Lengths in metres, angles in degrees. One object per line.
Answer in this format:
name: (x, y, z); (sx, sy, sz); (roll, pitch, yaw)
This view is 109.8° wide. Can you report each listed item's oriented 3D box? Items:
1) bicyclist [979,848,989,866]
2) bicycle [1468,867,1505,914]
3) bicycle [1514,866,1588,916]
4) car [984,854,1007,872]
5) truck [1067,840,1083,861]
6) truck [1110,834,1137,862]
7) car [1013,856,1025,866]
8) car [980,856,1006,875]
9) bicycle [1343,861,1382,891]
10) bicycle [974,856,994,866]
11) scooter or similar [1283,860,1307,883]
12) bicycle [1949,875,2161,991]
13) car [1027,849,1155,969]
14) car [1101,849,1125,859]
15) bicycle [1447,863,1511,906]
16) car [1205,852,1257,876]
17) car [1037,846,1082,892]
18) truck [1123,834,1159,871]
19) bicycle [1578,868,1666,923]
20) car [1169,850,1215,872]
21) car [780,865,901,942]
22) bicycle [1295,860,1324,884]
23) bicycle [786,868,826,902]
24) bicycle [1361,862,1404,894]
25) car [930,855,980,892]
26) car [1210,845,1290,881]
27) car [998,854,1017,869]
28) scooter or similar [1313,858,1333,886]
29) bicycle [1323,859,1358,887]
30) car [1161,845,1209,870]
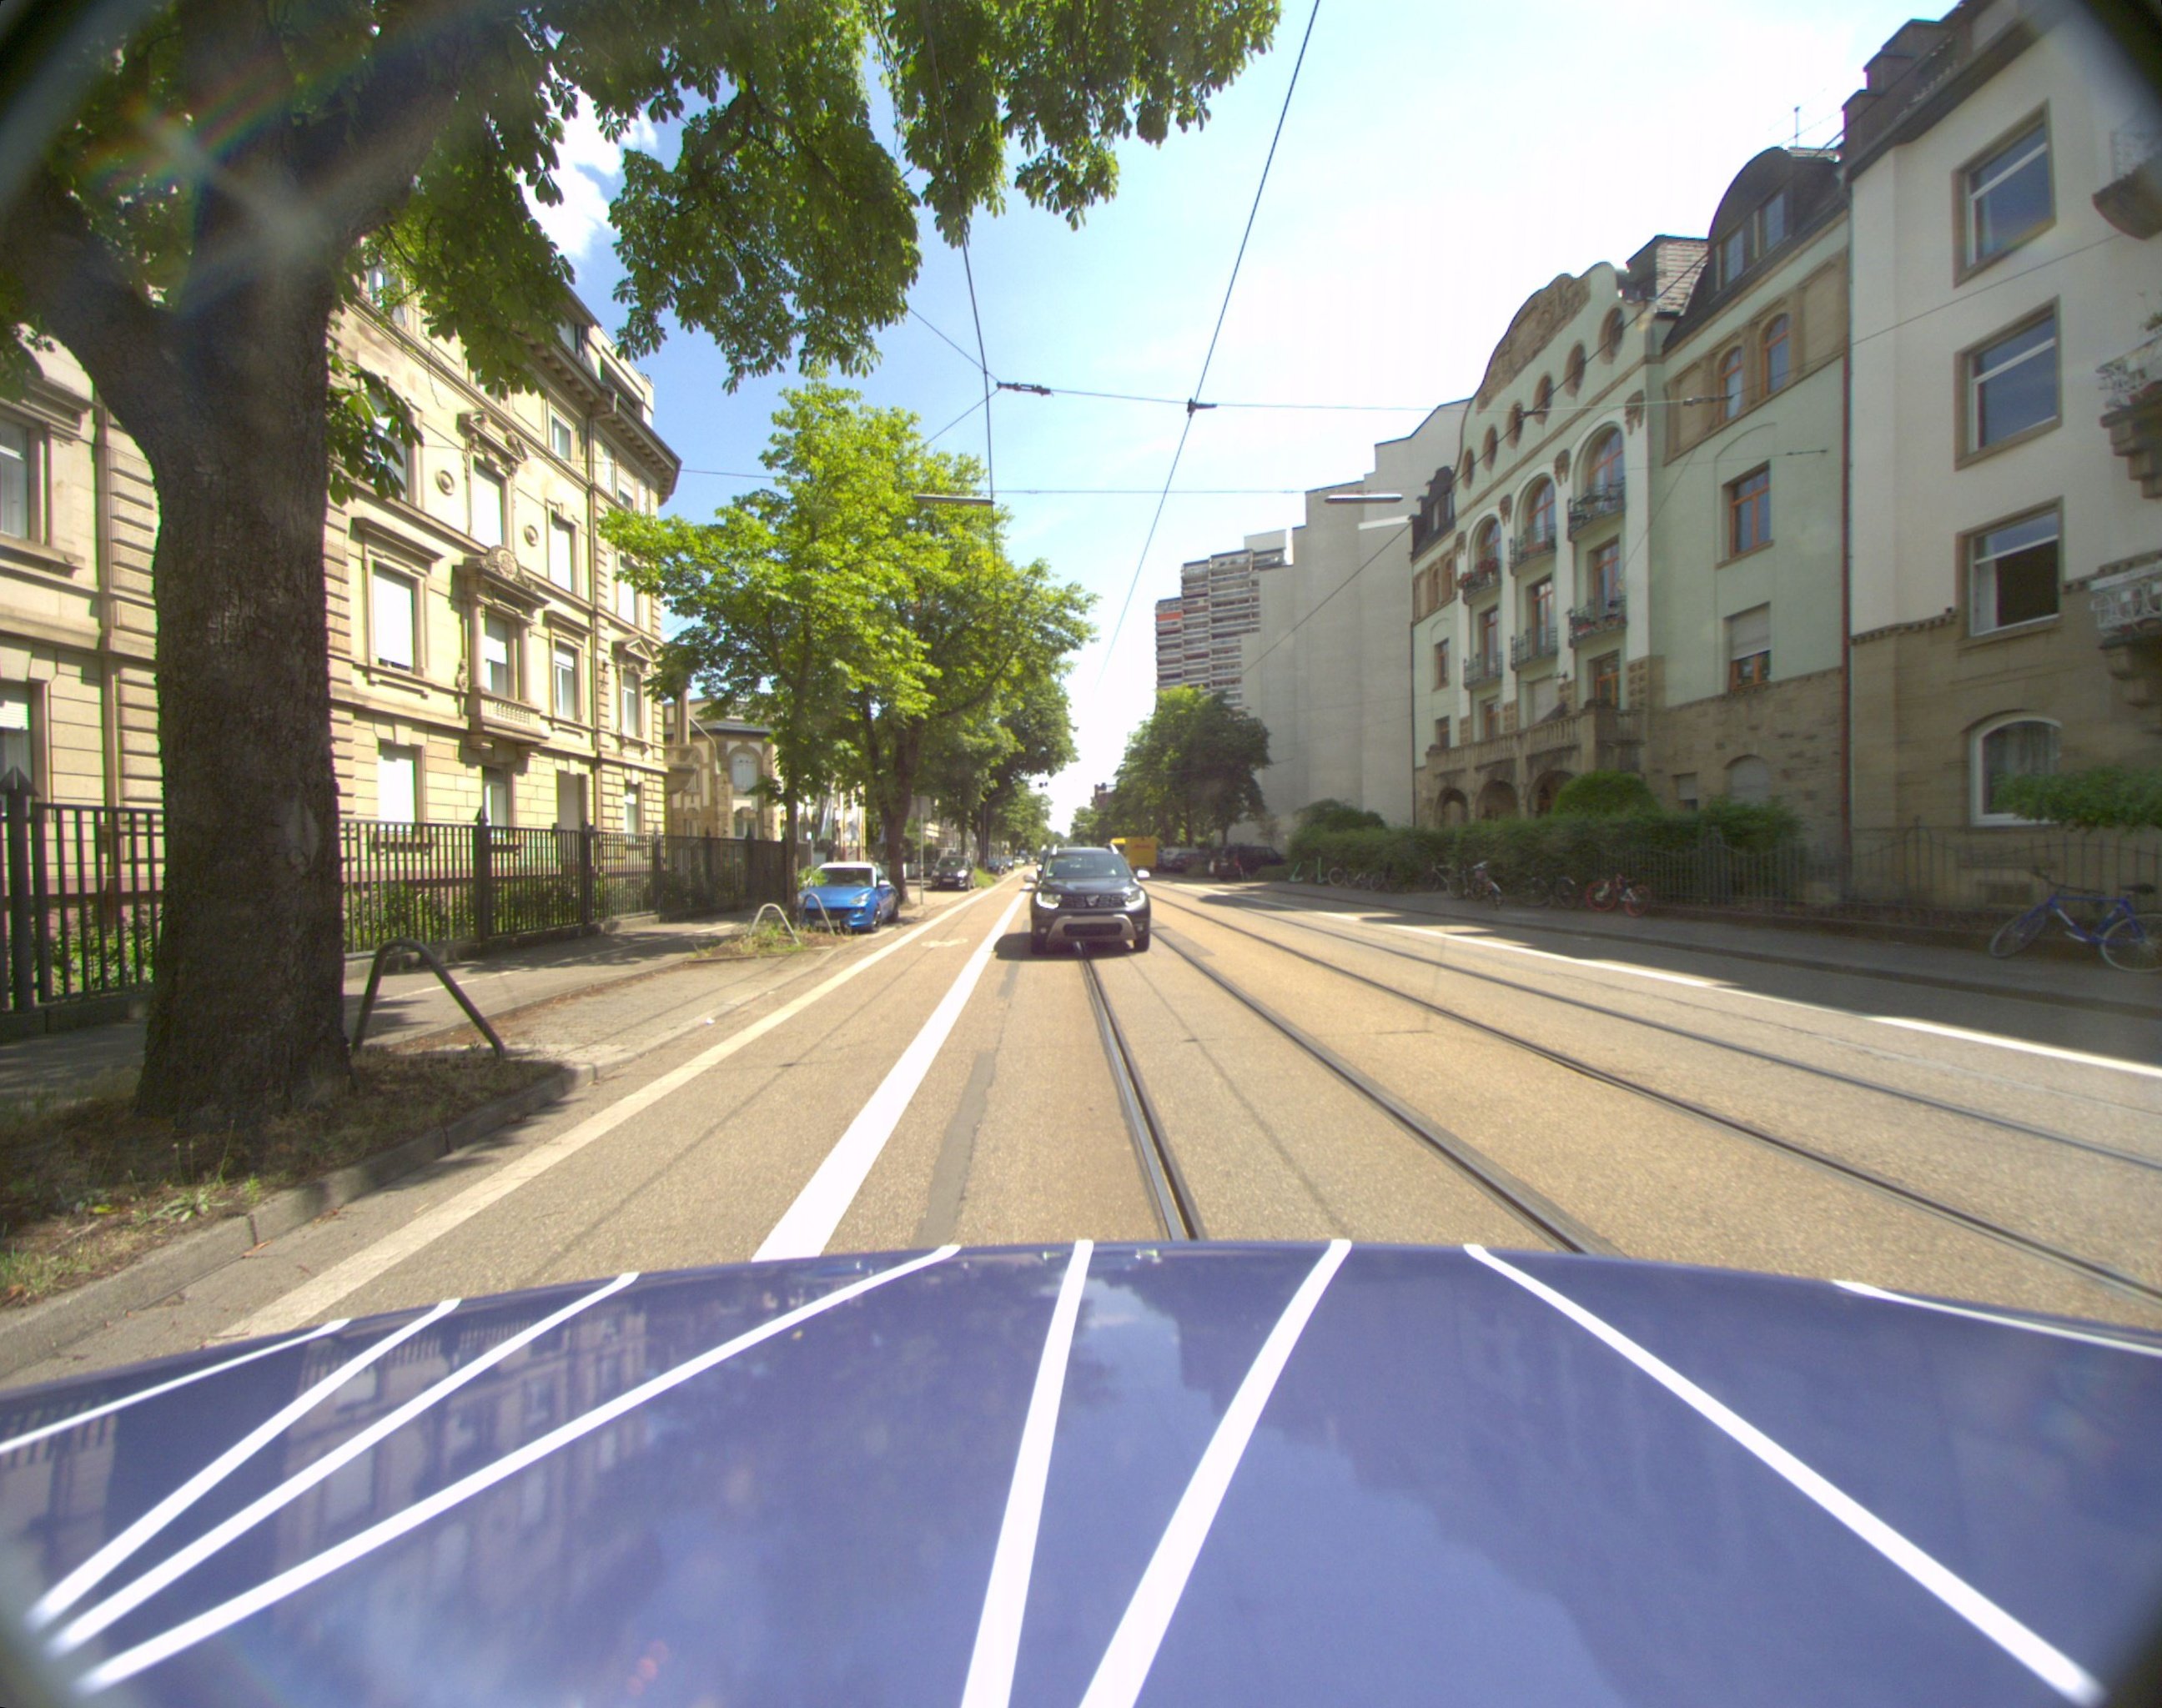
bicyclist: (-11.017, 0.335, 86.092); (0.806, 2.002, 0.775); (-1, 1, 24)
bicycle: (9.560, 0.835, 17.886); (0.608, 0.993, 1.778); (0, 0, 33)
bicycle: (10.450, 0.790, 16.958); (0.465, 0.993, 1.707); (-4, 0, -2)
car: (-7.169, 0.742, 64.275); (1.626, 1.395, 3.999); (1, 0, -2)
truck: (-1.037, -0.687, 135.008); (2.792, 3.598, 8.255); (-1, 0, 0)
truck: (6.623, -0.919, 117.490); (2.672, 4.155, 10.481); (-1, 0, 11)
car: (-9.078, 0.954, 111.161); (1.626, 1.395, 3.999); (1, 0, -2)
car: (-6.641, 0.853, 57.591); (1.626, 1.395, 3.822); (1, 0, -2)
bicycle: (10.134, 0.778, 27.413); (0.609, 0.983, 1.707); (-5, 0, -3)
bicycle: (-11.015, 0.795, 86.119); (2.168, 1.089, 0.814); (-1, 1, 25)
scooter or similar: (9.766, 0.795, 34.718); (0.407, 1.014, 1.222); (-1, 0, -18)
bicycle: (10.980, 0.811, 8.410); (0.609, 1.058, 1.771); (-5, 0, -3)
car: (0.062, 0.750, 12.639); (1.753, 1.641, 4.296); (-1, 0, -2)
car: (6.263, 0.051, 147.306); (4.338, 1.797, 1.995); (-1, 0, -35)
bicycle: (10.540, 0.786, 20.189); (0.609, 1.026, 1.771); (-5, 0, -3)
car: (9.740, 0.635, 49.200); (1.721, 1.445, 3.635); (0, 0, 42)
car: (-0.954, 0.623, 33.493); (1.753, 1.806, 4.307); (-3, 0, -2)
truck: (4.865, -0.107, 62.726); (2.307, 2.903, 6.514); (-1, 0, -1)
bicycle: (10.699, 0.798, 15.094); (0.414, 0.960, 1.725); (-4, 0, -2)
car: (8.589, 0.525, 58.682); (3.692, 1.566, 1.678); (-1, 1, -45)
car: (-5.139, 1.002, 16.712); (1.696, 1.444, 3.472); (-1, 0, -3)
bicycle: (9.907, 0.763, 32.973); (0.609, 0.983, 1.707); (-5, 0, -3)
bicycle: (-9.288, 1.037, 25.737); (0.609, 1.065, 1.980); (-1, 0, 0)
bicycle: (10.117, 0.792, 25.537); (0.609, 0.970, 1.771); (-5, 0, -3)
car: (-5.843, 0.862, 35.642); (1.734, 1.606, 4.083); (1, 0, -2)
car: (9.520, 0.471, 42.587); (4.595, 1.914, 1.957); (-1, 0, -39)
car: (-7.424, 0.773, 76.691); (1.626, 1.395, 3.999); (1, 0, -2)
scooter or similar: (9.997, 0.725, 31.420); (0.407, 1.113, 1.290); (-1, 0, 0)
bicycle: (10.083, 0.726, 29.564); (0.609, 0.983, 1.707); (-5, 0, -3)
car: (8.540, 0.272, 62.234); (4.061, 2.030, 1.598); (-1, 1, -43)
